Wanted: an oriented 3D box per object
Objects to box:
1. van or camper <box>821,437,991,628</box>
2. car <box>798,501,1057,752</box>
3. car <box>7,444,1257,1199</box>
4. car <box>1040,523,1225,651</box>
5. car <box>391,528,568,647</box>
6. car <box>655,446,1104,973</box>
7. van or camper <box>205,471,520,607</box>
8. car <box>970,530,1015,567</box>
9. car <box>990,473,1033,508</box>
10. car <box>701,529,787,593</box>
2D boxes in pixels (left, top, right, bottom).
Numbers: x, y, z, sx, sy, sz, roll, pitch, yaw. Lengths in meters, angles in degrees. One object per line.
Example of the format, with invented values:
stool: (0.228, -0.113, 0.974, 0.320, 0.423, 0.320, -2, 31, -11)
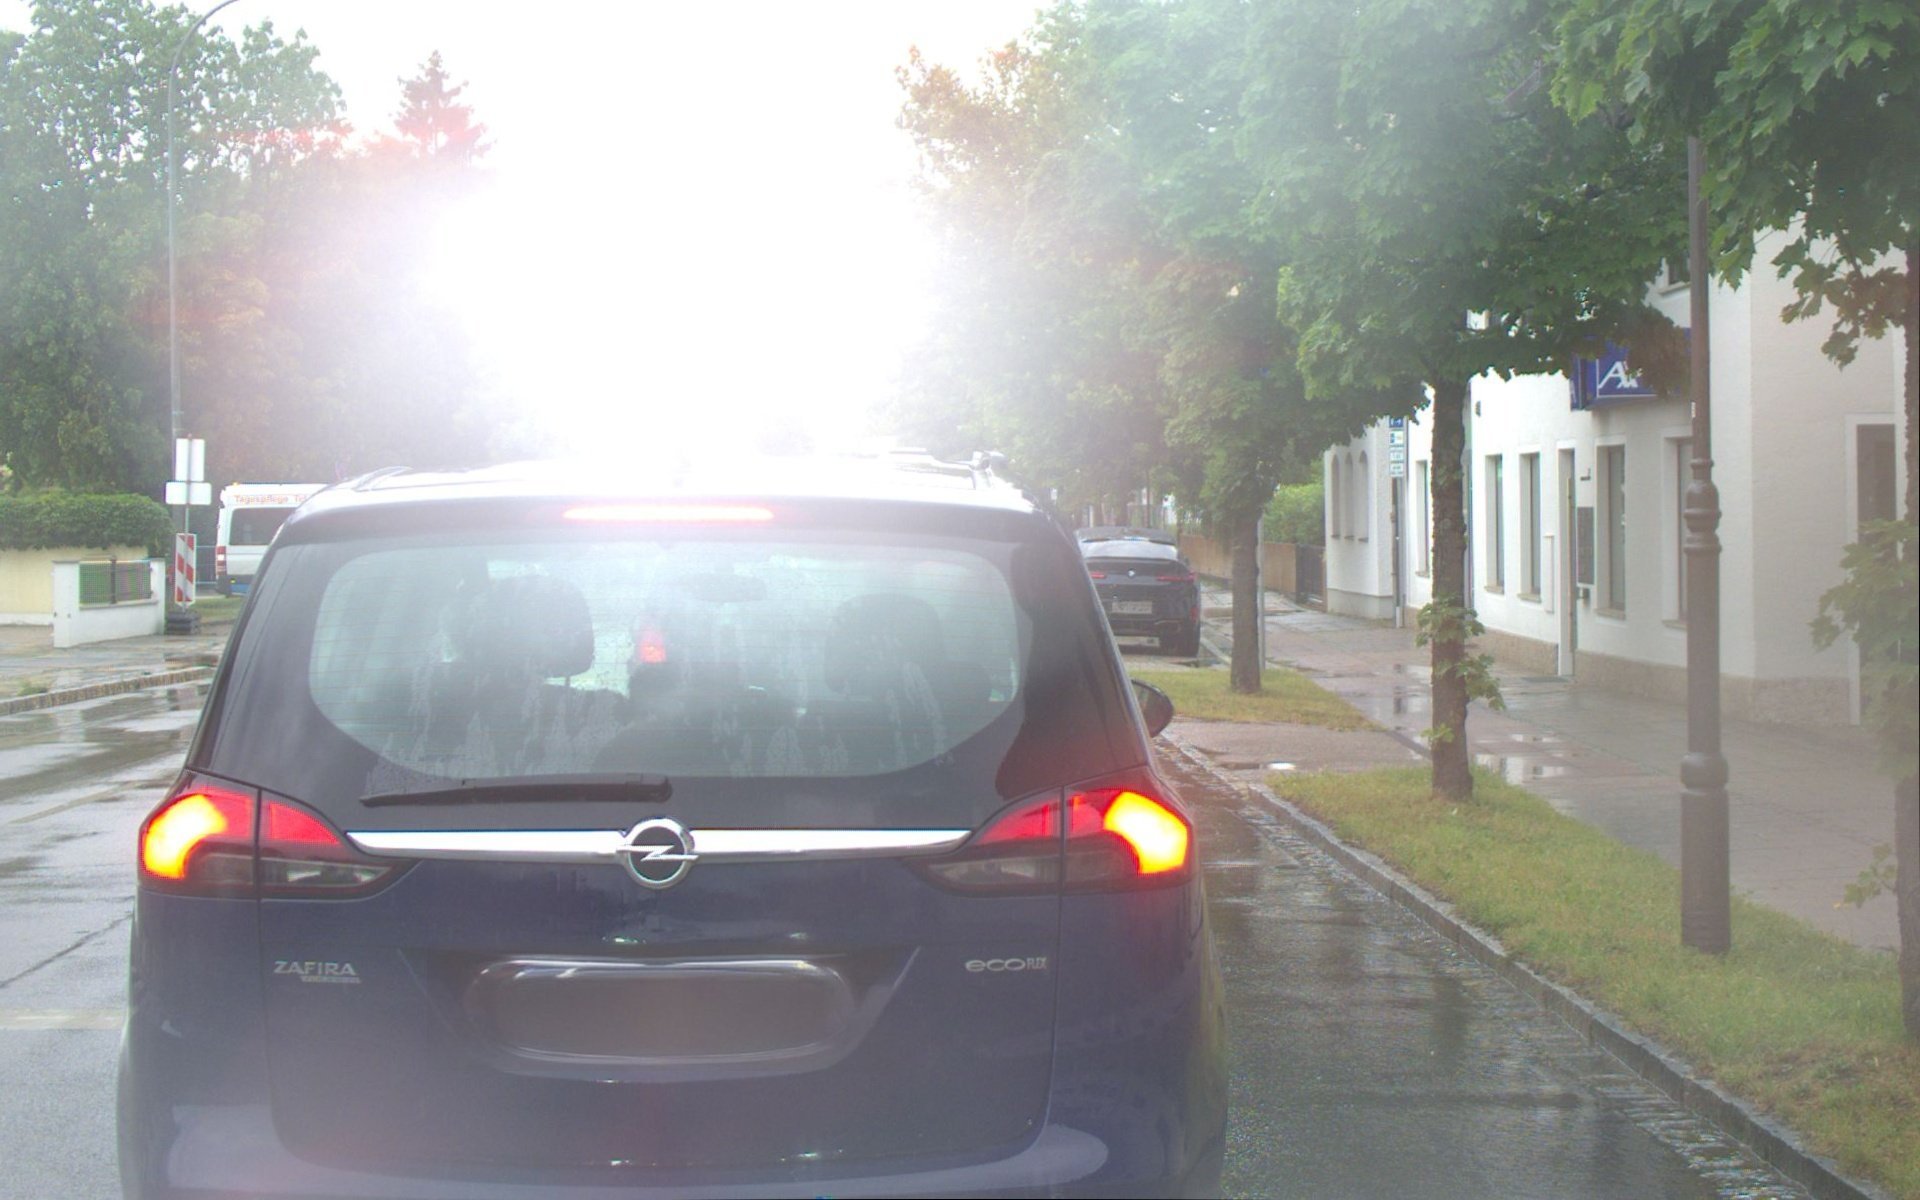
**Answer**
van or camper: (-0.790, -1.008, 51.091, 2.360, 2.656, 5.372, -1, 1, -1)
car: (-0.245, 0.142, 25.360, 1.756, 1.700, 3.619, -1, 1, -1)
car: (-0.495, 0.554, 6.746, 1.768, 1.599, 3.663, 1, 1, -1)
car: (2.214, -0.194, 45.168, 2.117, 1.575, 3.936, 1, 1, -1)
car: (-6.586, -0.211, 47.512, 1.915, 1.528, 3.899, -1, 1, -1)
car: (-0.292, 0.340, 13.251, 1.500, 1.770, 3.112, 1, 1, -1)
van or camper: (-12.222, -1.262, 70.619, 6.246, 2.698, 2.101, -1, 1, -8)
car: (1.251, -1.996, 134.027, 1.630, 1.373, 3.623, 1, 1, -1)
car: (2.144, -4.549, 143.402, 1.630, 1.373, 3.623, -1, 1, -1)
car: (-5.548, -1.021, 88.816, 1.967, 1.557, 4.152, -1, 1, -1)
